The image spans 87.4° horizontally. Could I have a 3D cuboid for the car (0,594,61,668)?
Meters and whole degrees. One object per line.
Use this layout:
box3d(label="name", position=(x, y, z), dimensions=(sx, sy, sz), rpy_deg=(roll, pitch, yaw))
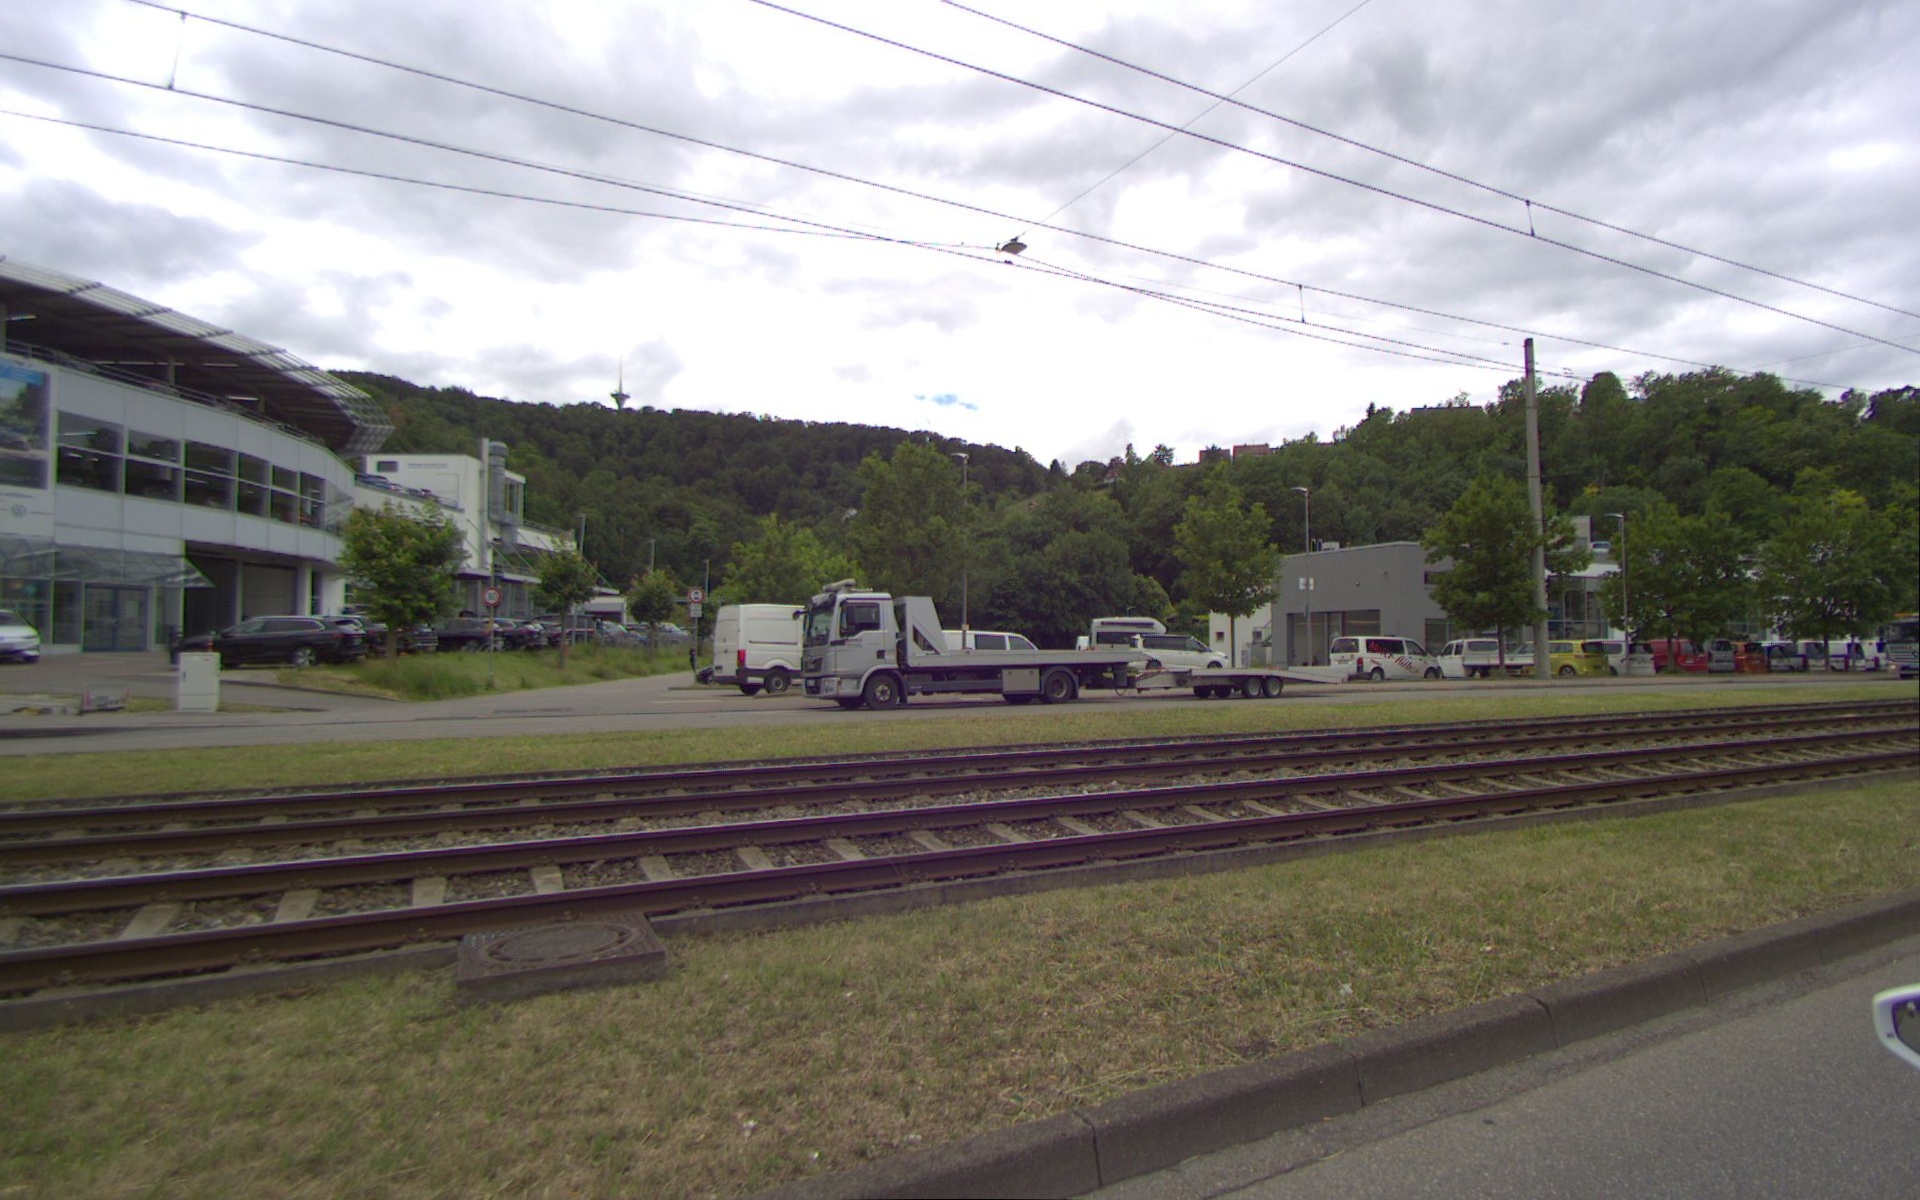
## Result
box3d(label="car", position=(-27.789, 0.900, 28.774), dimensions=(3.931, 2.040, 1.996), rpy_deg=(-2, -2, 32))

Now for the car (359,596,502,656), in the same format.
box3d(label="car", position=(-18.396, 0.929, 35.027), dimensions=(3.920, 2.040, 2.001), rpy_deg=(0, -2, 1))

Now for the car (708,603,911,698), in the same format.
box3d(label="car", position=(-4.399, 1.471, 30.038), dimensions=(5.808, 2.594, 1.979), rpy_deg=(1, -2, -37))

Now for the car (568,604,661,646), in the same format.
box3d(label="car", position=(-17.123, 1.245, 49.932), dimensions=(3.920, 2.040, 2.001), rpy_deg=(0, -2, 1))

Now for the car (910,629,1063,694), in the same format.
box3d(label="car", position=(0.903, 1.986, 33.424), dimensions=(4.743, 2.040, 1.988), rpy_deg=(1, -2, -26))

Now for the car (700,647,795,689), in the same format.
box3d(label="car", position=(-8.617, 2.755, 40.967), dimensions=(3.646, 1.639, 1.676), rpy_deg=(0, -2, -6))

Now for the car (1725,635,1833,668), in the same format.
box3d(label="car", position=(42.851, 2.659, 52.662), dimensions=(1.968, 1.639, 3.987), rpy_deg=(1, -2, -17))

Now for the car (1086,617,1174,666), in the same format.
box3d(label="car", position=(9.704, 2.373, 57.584), dimensions=(4.764, 2.741, 2.001), rpy_deg=(0, -2, 0))

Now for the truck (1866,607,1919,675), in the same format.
box3d(label="truck", position=(43.776, 1.784, 43.645), dimensions=(9.083, 2.777, 2.752), rpy_deg=(1, -4, -22))

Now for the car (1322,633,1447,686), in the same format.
box3d(label="car", position=(17.342, 2.399, 41.066), dimensions=(4.793, 2.040, 1.989), rpy_deg=(1, -2, -24))

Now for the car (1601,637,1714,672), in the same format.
box3d(label="car", position=(33.963, 2.629, 49.056), dimensions=(2.029, 1.639, 4.178), rpy_deg=(1, -2, -17))

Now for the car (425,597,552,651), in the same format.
box3d(label="car", position=(-18.163, 0.955, 38.851), dimensions=(3.920, 2.040, 2.001), rpy_deg=(0, -2, 1))

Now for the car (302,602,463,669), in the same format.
box3d(label="car", position=(-18.281, 1.139, 31.935), dimensions=(3.920, 2.040, 2.001), rpy_deg=(0, -2, 1))

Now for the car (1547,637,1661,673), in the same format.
box3d(label="car", position=(30.960, 2.614, 48.446), dimensions=(2.085, 1.639, 4.345), rpy_deg=(1, -2, -17))

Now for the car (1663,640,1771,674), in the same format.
box3d(label="car", position=(38.463, 2.858, 51.163), dimensions=(1.968, 1.639, 3.987), rpy_deg=(1, -2, -17))

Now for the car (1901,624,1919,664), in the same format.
box3d(label="car", position=(57.459, 2.547, 57.714), dimensions=(2.091, 2.341, 4.495), rpy_deg=(1, -2, -17))

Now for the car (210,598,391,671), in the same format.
box3d(label="car", position=(-19.171, 1.022, 29.326), dimensions=(3.920, 2.040, 2.001), rpy_deg=(0, -2, 1))

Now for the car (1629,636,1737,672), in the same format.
box3d(label="car", position=(36.003, 2.660, 50.149), dimensions=(2.015, 1.686, 3.987), rpy_deg=(1, -2, -17))

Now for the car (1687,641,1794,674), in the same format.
box3d(label="car", position=(40.497, 2.950, 52.199), dimensions=(1.968, 1.639, 3.987), rpy_deg=(1, -2, -17))

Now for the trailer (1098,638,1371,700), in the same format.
box3d(label="trailer", position=(7.542, 1.862, 27.510), dimensions=(7.127, 1.514, 2.751), rpy_deg=(1, -5, -25))

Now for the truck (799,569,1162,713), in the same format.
box3d(label="truck", position=(0.558, 1.011, 24.168), dimensions=(8.338, 3.020, 2.857), rpy_deg=(1, -4, -25))

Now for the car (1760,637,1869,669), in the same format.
box3d(label="car", position=(45.421, 2.787, 53.471), dimensions=(1.968, 1.639, 3.987), rpy_deg=(1, -2, -17))

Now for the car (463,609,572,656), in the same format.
box3d(label="car", position=(-19.742, 1.465, 44.909), dimensions=(3.920, 2.040, 2.001), rpy_deg=(0, -2, 1))

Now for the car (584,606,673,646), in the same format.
box3d(label="car", position=(-17.130, 1.370, 52.084), dimensions=(3.920, 2.040, 2.001), rpy_deg=(0, -2, 1))

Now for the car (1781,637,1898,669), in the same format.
box3d(label="car", position=(47.435, 2.835, 54.285), dimensions=(1.972, 1.639, 4.365), rpy_deg=(1, -2, -17))

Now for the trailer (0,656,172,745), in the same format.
box3d(label="trailer", position=(-16.742, 1.583, 15.298), dimensions=(6.915, 1.294, 3.040), rpy_deg=(1, -5, -27))

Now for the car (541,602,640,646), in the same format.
box3d(label="car", position=(-17.524, 1.157, 47.747), dimensions=(3.920, 2.040, 2.001), rpy_deg=(0, -2, 1))

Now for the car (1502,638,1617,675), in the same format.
box3d(label="car", position=(28.080, 2.621, 47.229), dimensions=(2.119, 1.639, 4.336), rpy_deg=(1, -2, -17))

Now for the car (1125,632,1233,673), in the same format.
box3d(label="car", position=(11.082, 2.668, 51.015), dimensions=(5.033, 2.040, 2.000), rpy_deg=(0, -2, -2))

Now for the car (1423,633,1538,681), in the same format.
box3d(label="car", position=(23.161, 2.524, 45.034), dimensions=(2.102, 2.034, 5.716), rpy_deg=(0, -3, -1))

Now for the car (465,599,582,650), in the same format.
box3d(label="car", position=(-18.055, 1.028, 41.668), dimensions=(3.920, 2.040, 2.001), rpy_deg=(0, -2, 1))
